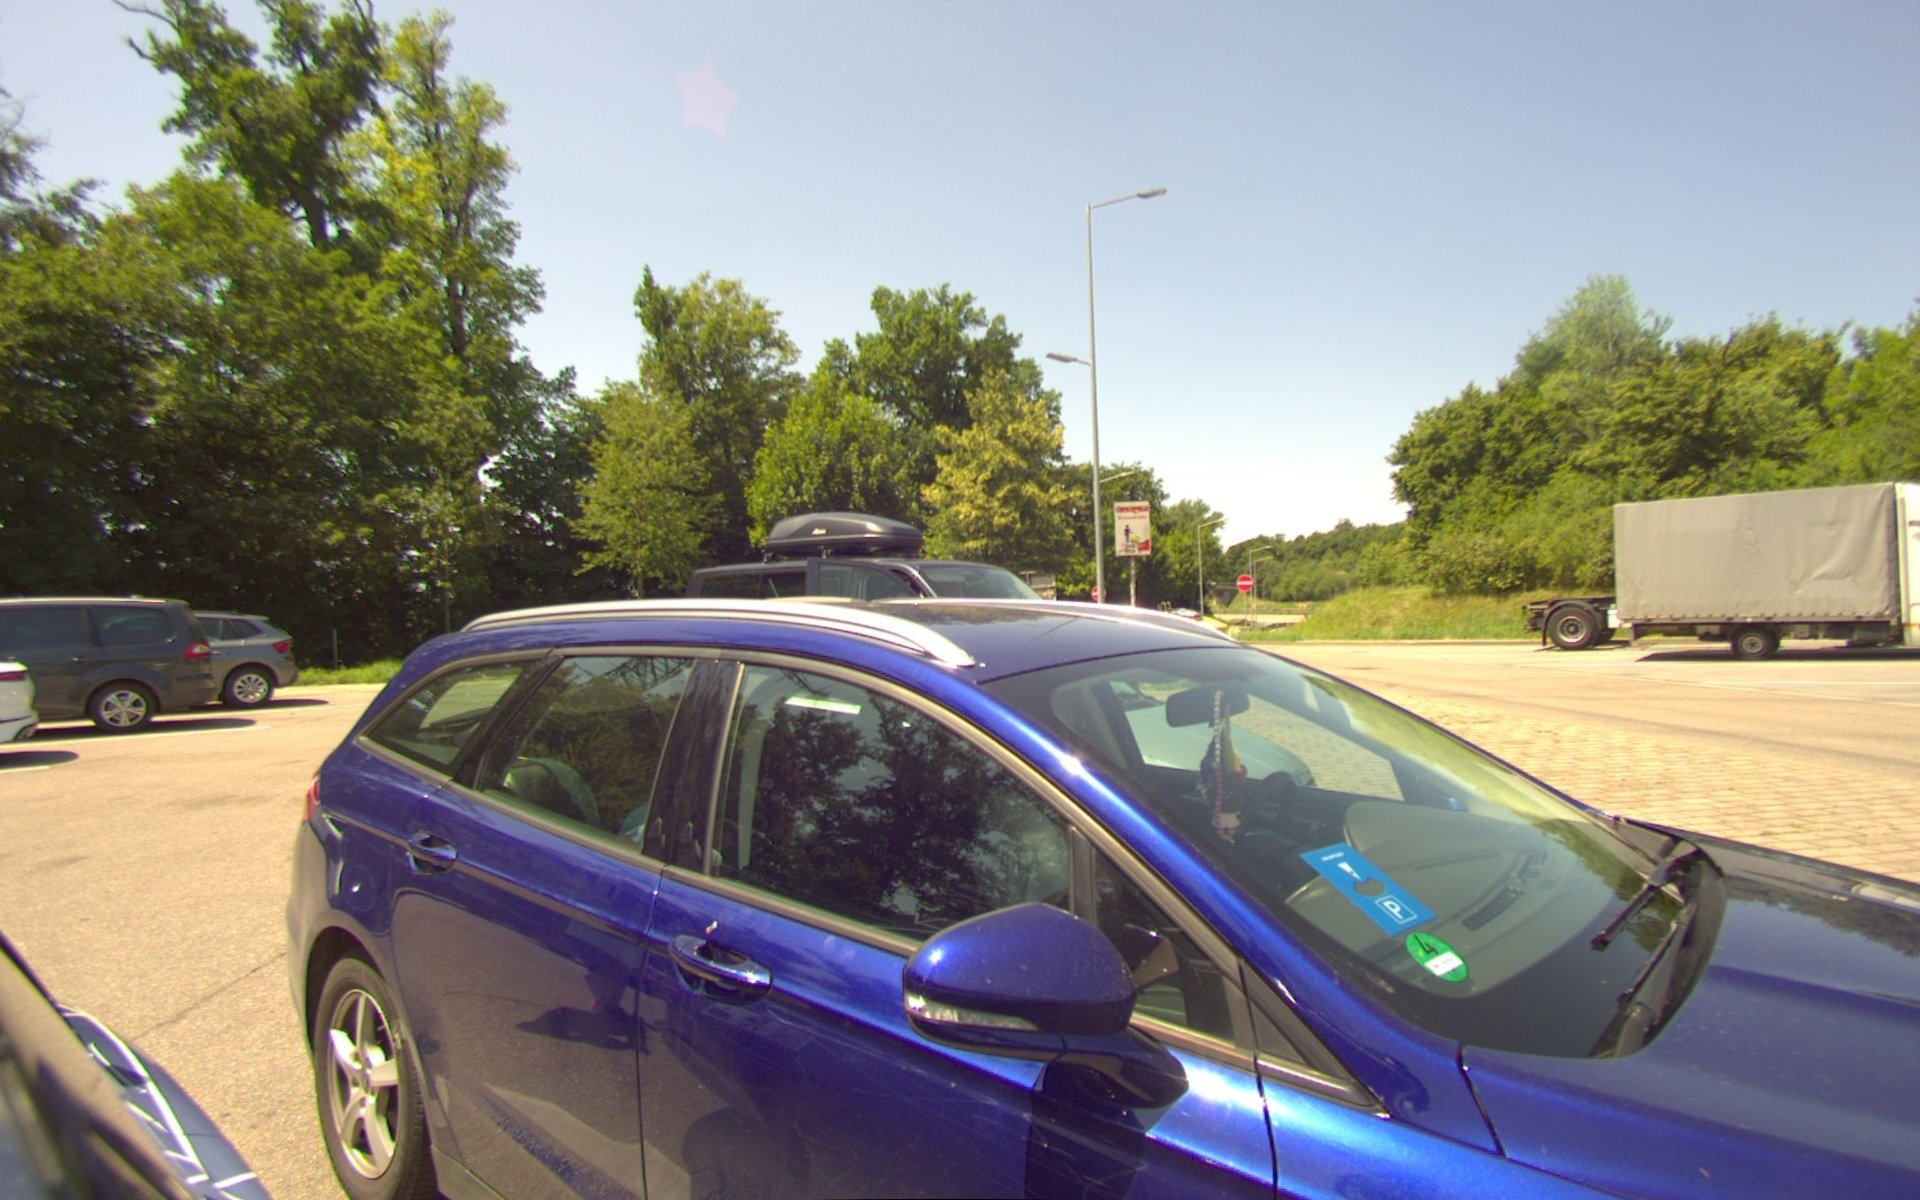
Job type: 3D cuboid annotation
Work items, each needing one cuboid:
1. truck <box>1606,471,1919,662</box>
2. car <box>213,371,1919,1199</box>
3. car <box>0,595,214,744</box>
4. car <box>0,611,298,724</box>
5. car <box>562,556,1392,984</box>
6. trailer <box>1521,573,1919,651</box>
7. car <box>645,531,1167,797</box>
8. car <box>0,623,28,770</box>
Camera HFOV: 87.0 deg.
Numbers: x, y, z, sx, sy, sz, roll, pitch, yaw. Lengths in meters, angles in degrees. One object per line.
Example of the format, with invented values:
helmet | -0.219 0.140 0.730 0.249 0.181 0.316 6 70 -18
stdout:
truck | 16.701 -0.599 18.932 7.337 3.235 2.502 -4 -1 41
car | 0.239 0.635 2.074 4.637 1.493 1.720 -2 -1 39
car | -11.662 0.826 12.624 3.762 1.737 1.724 0 -1 -38
car | -12.600 0.961 15.705 3.762 1.551 1.724 0 -1 -38
car | -0.223 0.674 5.786 4.637 1.545 1.720 -2 0 39
trailer | 17.630 0.315 23.153 8.088 1.385 2.200 -4 -1 41
car | -0.666 0.513 9.359 4.635 1.884 1.937 -2 0 37
car | -11.003 0.936 9.160 3.767 1.396 1.722 0 -1 -43
